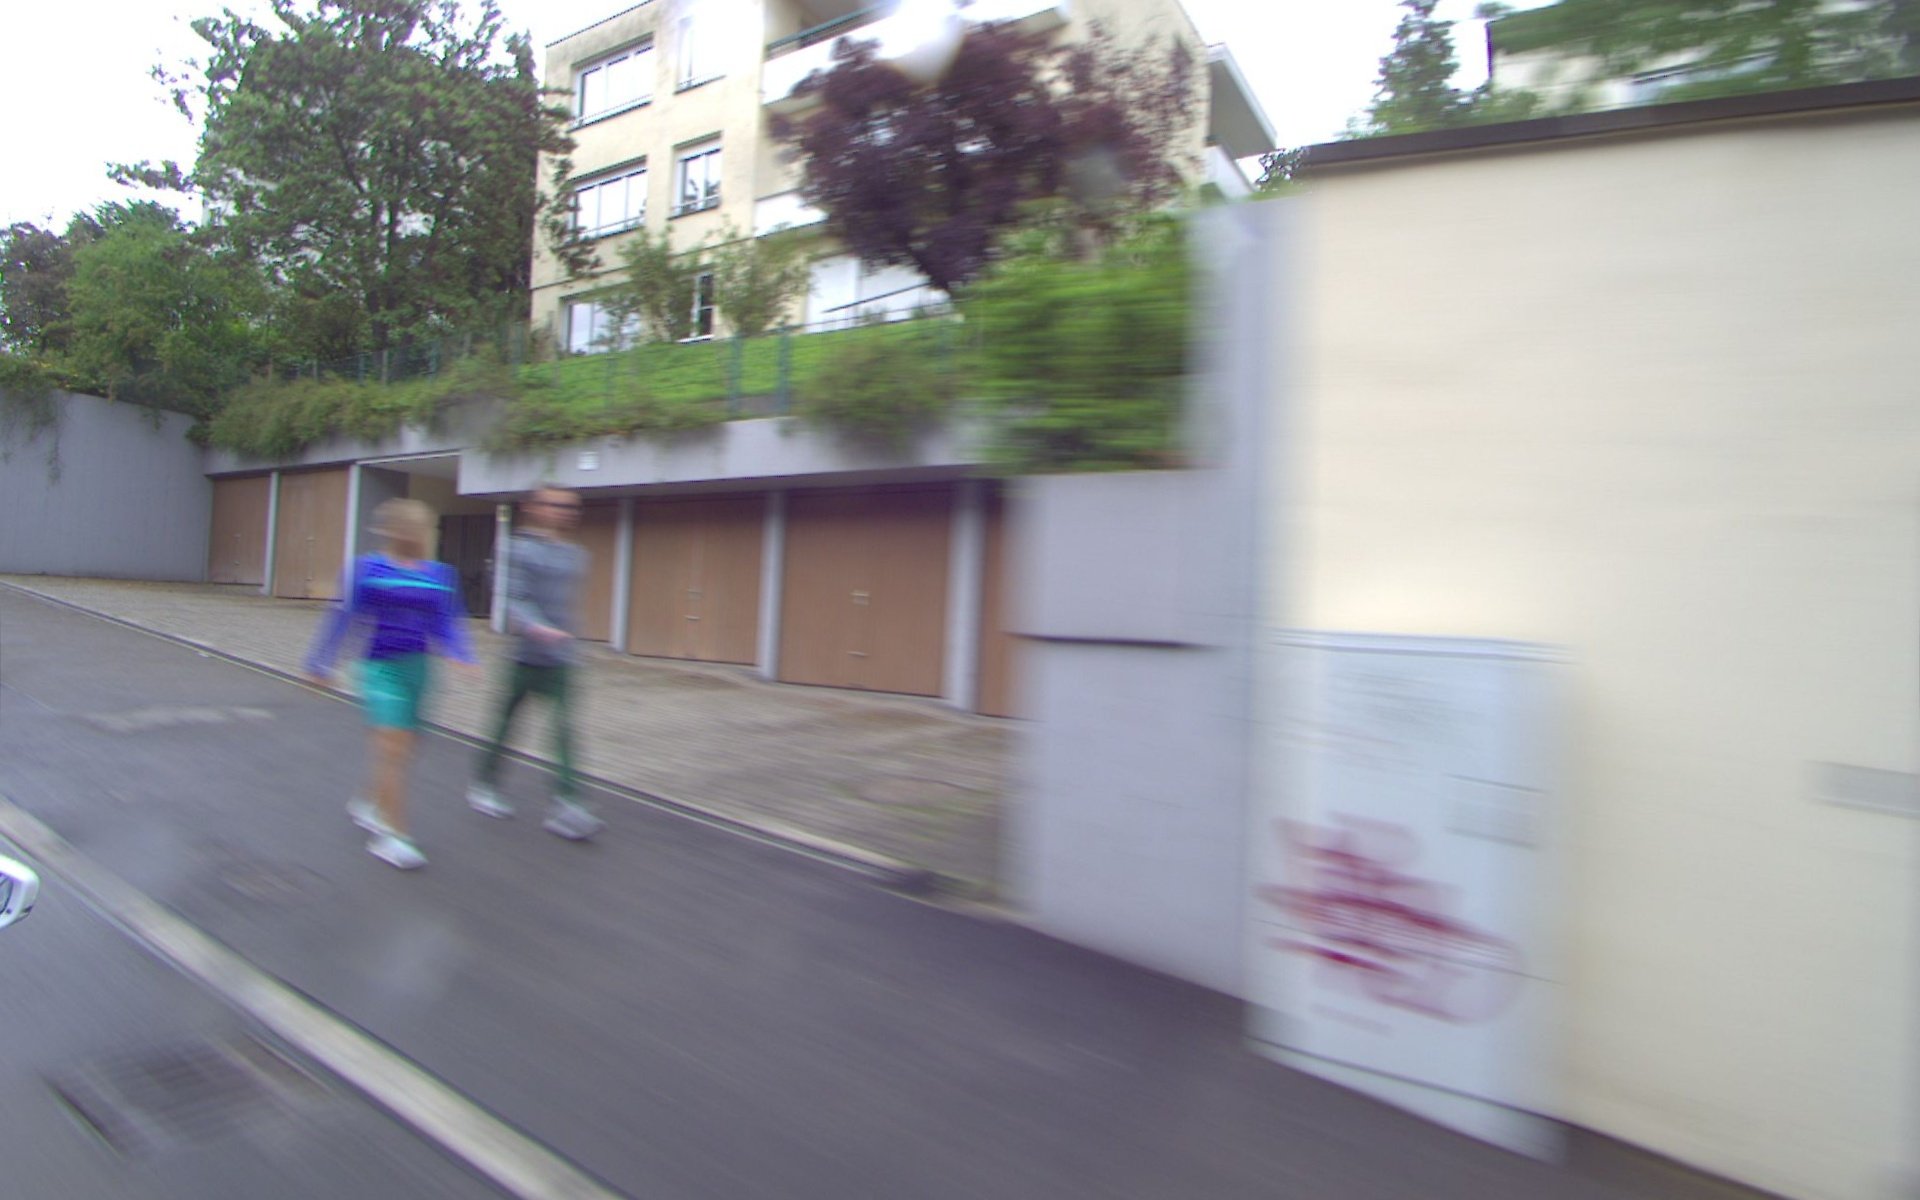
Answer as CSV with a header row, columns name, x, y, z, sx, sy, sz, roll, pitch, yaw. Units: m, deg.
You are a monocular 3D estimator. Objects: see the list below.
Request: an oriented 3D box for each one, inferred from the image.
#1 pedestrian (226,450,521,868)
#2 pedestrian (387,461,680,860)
name,x,y,z,sx,sy,sz,roll,pitch,yaw
pedestrian,-2.827,0.229,4.855,0.995,1.782,0.775,6,2,32
pedestrian,-2.292,0.260,5.390,1.230,1.857,0.775,7,4,32
